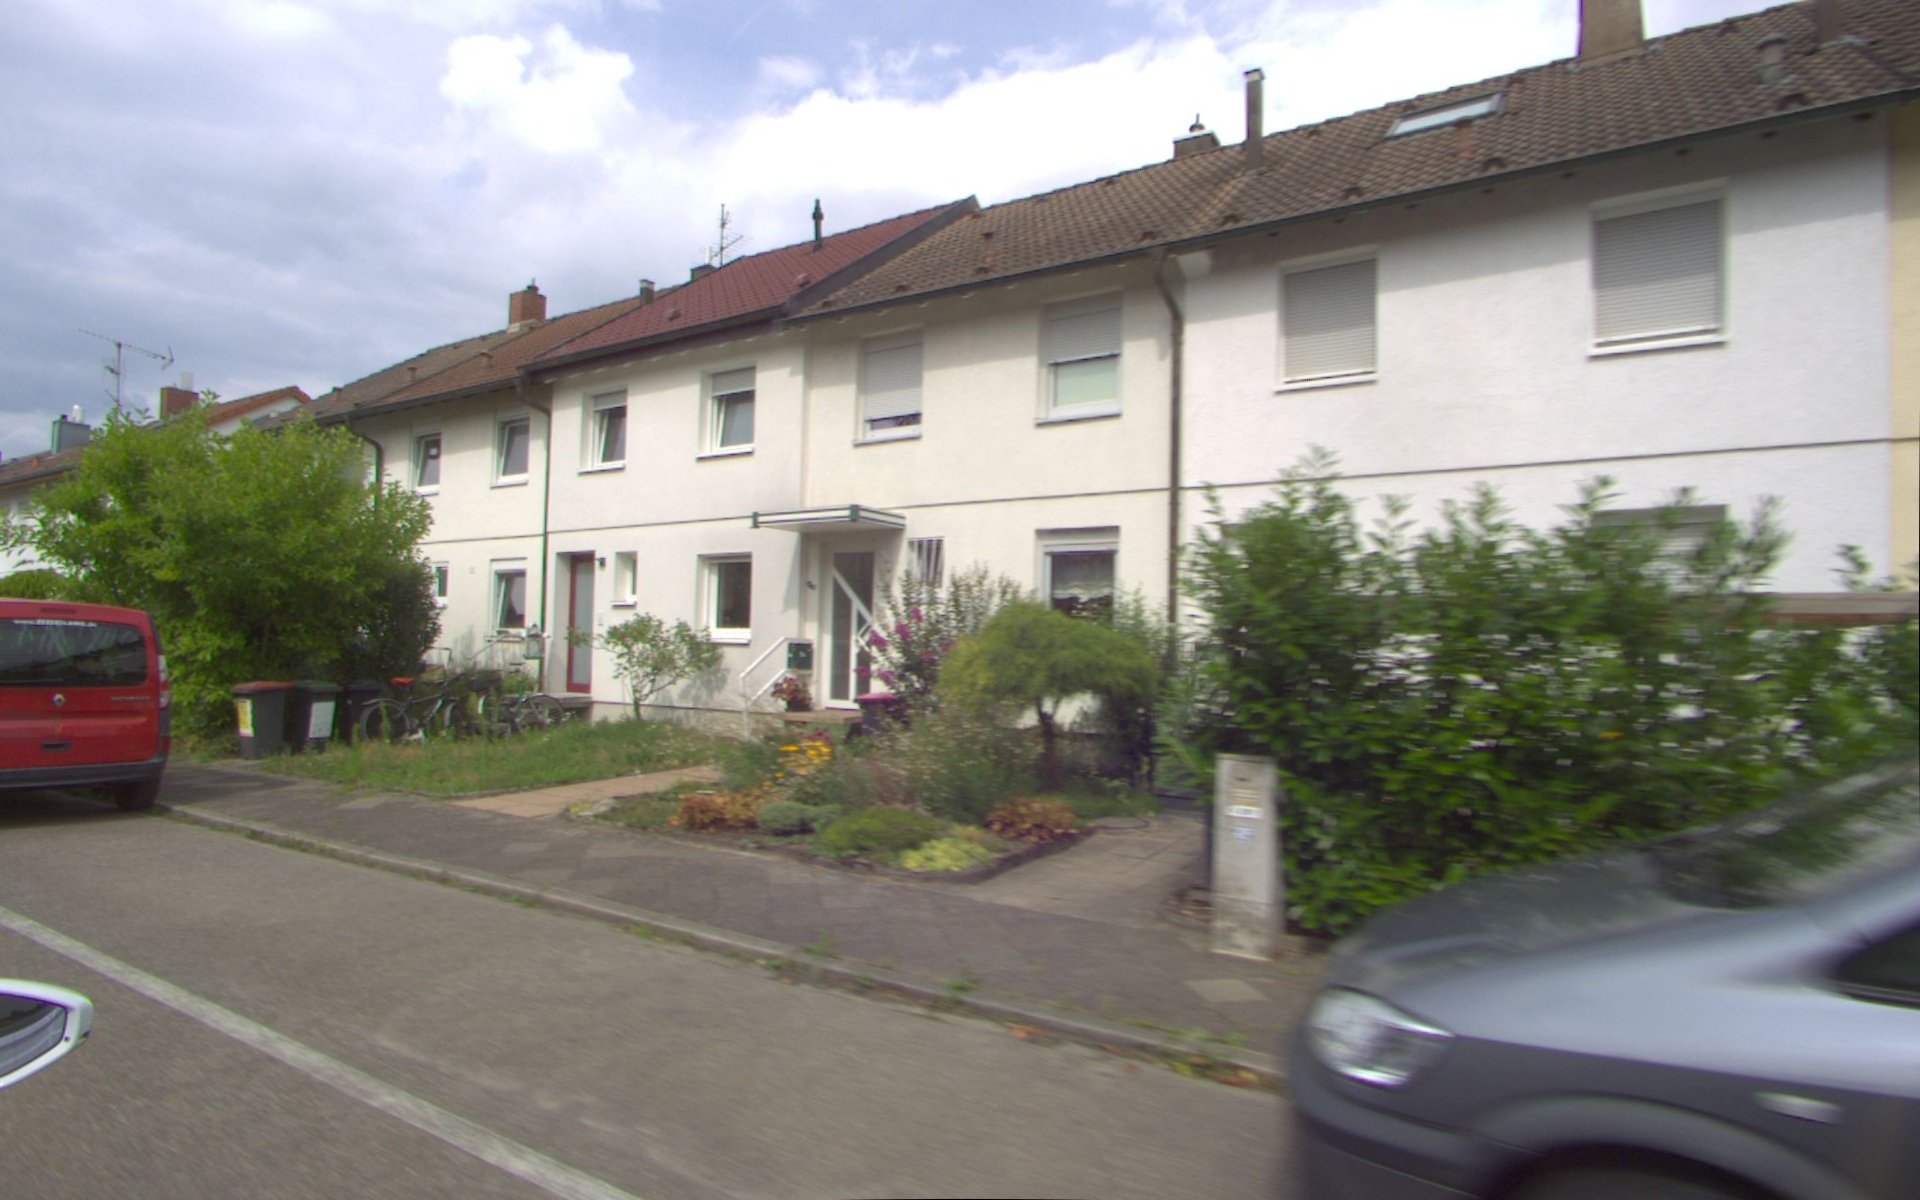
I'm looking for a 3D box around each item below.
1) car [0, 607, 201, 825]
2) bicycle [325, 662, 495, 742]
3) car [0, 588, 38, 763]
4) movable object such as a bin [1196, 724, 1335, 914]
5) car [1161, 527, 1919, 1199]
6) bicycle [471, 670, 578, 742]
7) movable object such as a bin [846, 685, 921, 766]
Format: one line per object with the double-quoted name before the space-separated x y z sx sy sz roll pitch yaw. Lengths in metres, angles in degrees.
"car" -9.060 0.908 9.118 4.343 1.672 1.810 0 -2 29
"bicycle" -6.989 1.271 12.835 0.552 0.919 1.876 0 -2 30
"car" -13.163 0.820 11.851 4.677 1.972 2.019 0 -2 31
"movable object such as a bin" 1.912 1.335 6.258 0.777 1.046 0.404 1 -2 24
"car" 2.764 0.783 1.682 4.398 1.674 1.866 0 -3 31
"bicycle" -5.979 1.434 13.831 0.731 0.876 1.593 1 -2 1
"movable object such as a bin" -0.881 1.426 11.555 0.542 0.861 0.688 0 -2 34
